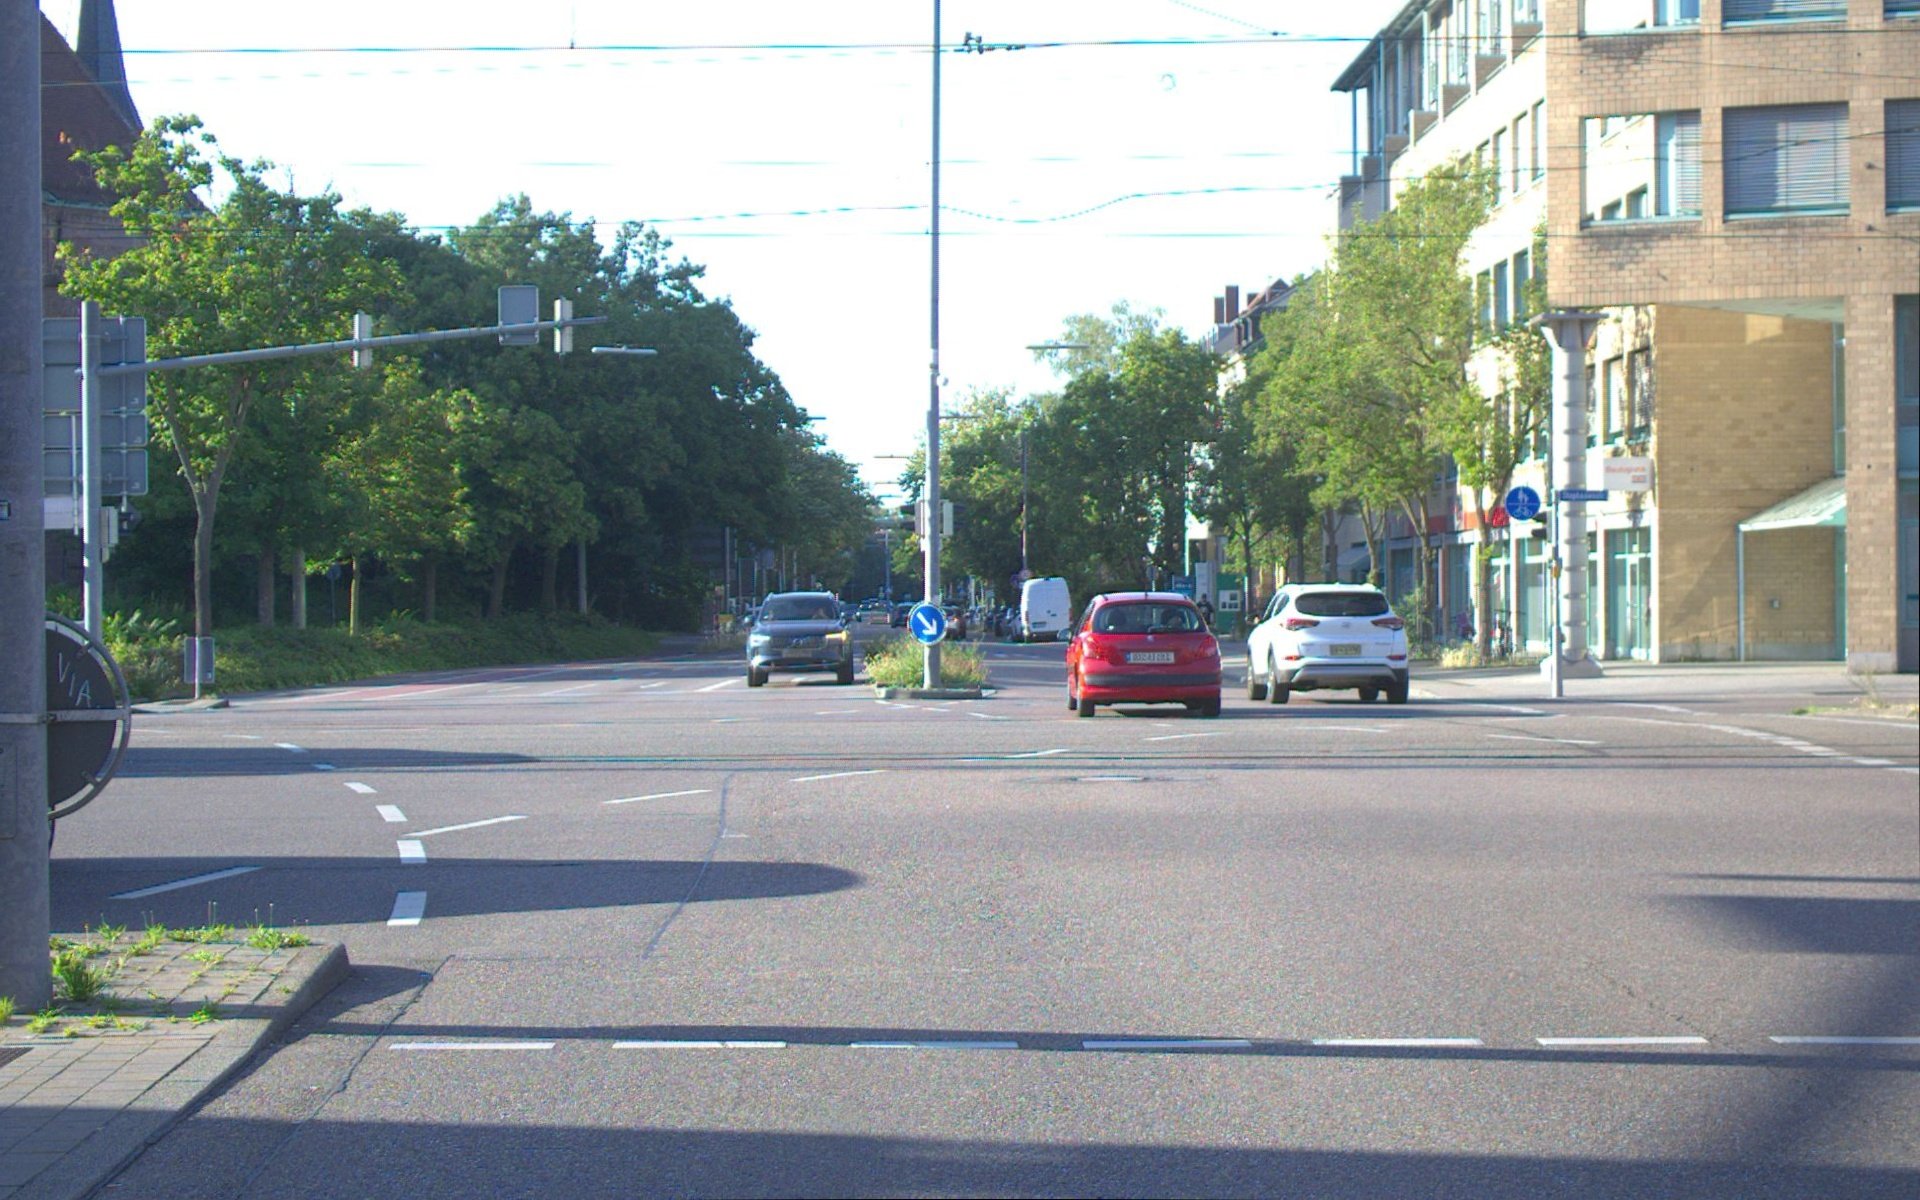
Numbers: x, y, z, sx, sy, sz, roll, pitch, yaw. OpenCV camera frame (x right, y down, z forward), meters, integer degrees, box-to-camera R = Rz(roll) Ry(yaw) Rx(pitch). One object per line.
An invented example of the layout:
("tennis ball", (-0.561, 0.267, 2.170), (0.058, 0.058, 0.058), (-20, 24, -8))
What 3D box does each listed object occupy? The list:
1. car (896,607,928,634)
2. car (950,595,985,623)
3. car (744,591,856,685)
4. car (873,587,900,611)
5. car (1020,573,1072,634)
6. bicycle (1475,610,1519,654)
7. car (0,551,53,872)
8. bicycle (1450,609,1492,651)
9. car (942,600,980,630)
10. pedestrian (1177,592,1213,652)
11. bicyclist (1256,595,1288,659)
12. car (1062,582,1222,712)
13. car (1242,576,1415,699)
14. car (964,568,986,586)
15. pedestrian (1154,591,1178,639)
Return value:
("car", (-2.403, 1.029, 173.404), (1.594, 1.263, 3.266), (0, 0, 0))
("car", (0.355, 0.435, 159.985), (1.594, 1.263, 3.266), (0, 0, 0))
("car", (-3.013, 0.737, 65.689), (1.993, 1.718, 5.031), (0, -1, -1))
("car", (-5.310, -0.069, 249.107), (1.886, 1.665, 4.000), (1, 0, 0))
("car", (3.546, 0.137, 142.362), (1.993, 2.432, 4.000), (1, 0, 0))
("bicycle", (12.157, 0.714, 77.900), (0.646, 0.991, 2.081), (0, 0, -1))
("car", (-5.390, 0.565, 15.819), (1.577, 1.539, 3.477), (-2, 1, -2))
("bicycle", (12.113, 0.704, 81.476), (0.646, 0.991, 2.081), (0, 0, -1))
("car", (0.043, 0.636, 148.269), (1.594, 1.263, 3.266), (0, 0, 0))
("pedestrian", (7.807, 0.735, 114.045), (1.107, 1.969, 1.161), (0, 0, 0))
("bicyclist", (6.798, 0.576, 74.901), (0.592, 1.364, 0.930), (1, 0, 0))
("car", (2.149, 0.537, 41.406), (1.670, 1.457, 4.000), (1, 0, 0))
("car", (5.093, 0.496, 48.034), (1.916, 1.602, 4.269), (1, 0, 0))
("car", (1.071, -1.695, 252.812), (1.594, 1.263, 3.266), (0, 0, 0))
("pedestrian", (7.680, 0.554, 128.423), (0.847, 1.797, 0.776), (0, 0, 0))
